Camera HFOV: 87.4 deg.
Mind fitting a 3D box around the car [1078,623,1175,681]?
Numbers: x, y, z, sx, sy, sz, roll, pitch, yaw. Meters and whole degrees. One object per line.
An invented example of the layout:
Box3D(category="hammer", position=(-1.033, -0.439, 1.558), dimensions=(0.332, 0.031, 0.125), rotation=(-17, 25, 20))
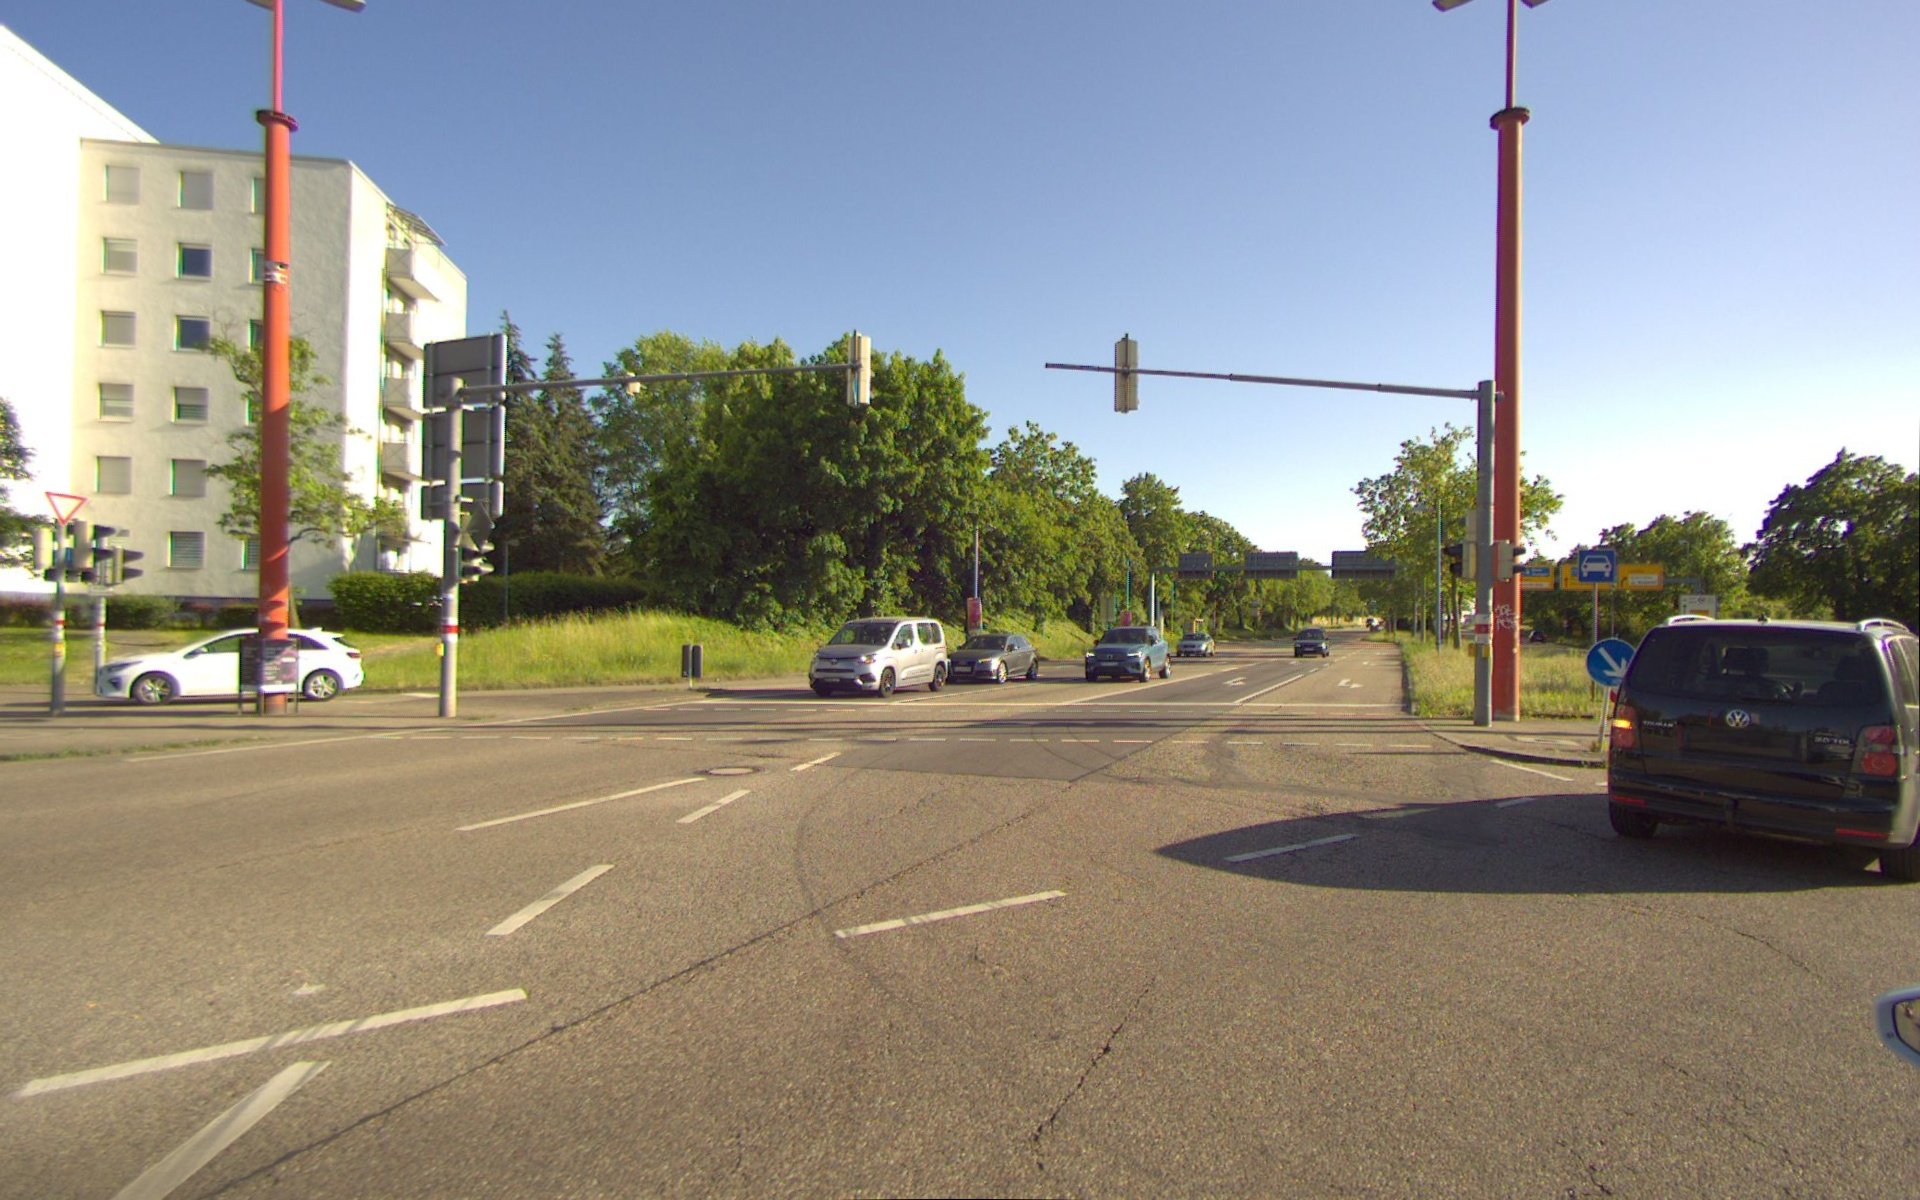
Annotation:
Box3D(category="car", position=(5.158, 1.544, 30.669), dimensions=(1.868, 1.631, 4.563), rotation=(-1, -2, 24))

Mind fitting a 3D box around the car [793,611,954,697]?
Box3D(category="car", position=(-1.886, 1.210, 23.489), dimensions=(1.868, 1.798, 4.444), rotation=(-1, -2, 24))

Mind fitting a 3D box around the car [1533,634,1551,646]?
Box3D(category="car", position=(76.692, 5.218, 132.345), dimensions=(1.740, 1.483, 4.362), rotation=(1, -1, 26))

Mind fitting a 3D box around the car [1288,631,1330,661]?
Box3D(category="car", position=(19.648, 2.562, 56.398), dimensions=(1.868, 1.585, 4.563), rotation=(-1, -2, 24))

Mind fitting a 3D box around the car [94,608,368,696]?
Box3D(category="car", position=(-14.422, 1.061, 20.047), dimensions=(4.226, 1.571, 1.883), rotation=(4, -4, -40))

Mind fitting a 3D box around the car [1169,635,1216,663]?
Box3D(category="car", position=(14.032, 2.908, 60.431), dimensions=(1.868, 1.631, 4.562), rotation=(-1, -2, 24))

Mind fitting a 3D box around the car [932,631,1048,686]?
Box3D(category="car", position=(0.982, 1.664, 29.810), dimensions=(1.868, 1.494, 4.563), rotation=(-1, -2, 24))

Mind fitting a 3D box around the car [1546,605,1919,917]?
Box3D(category="car", position=(6.359, 0.931, 7.677), dimensions=(4.884, 1.666, 1.752), rotation=(2, -1, -41))
